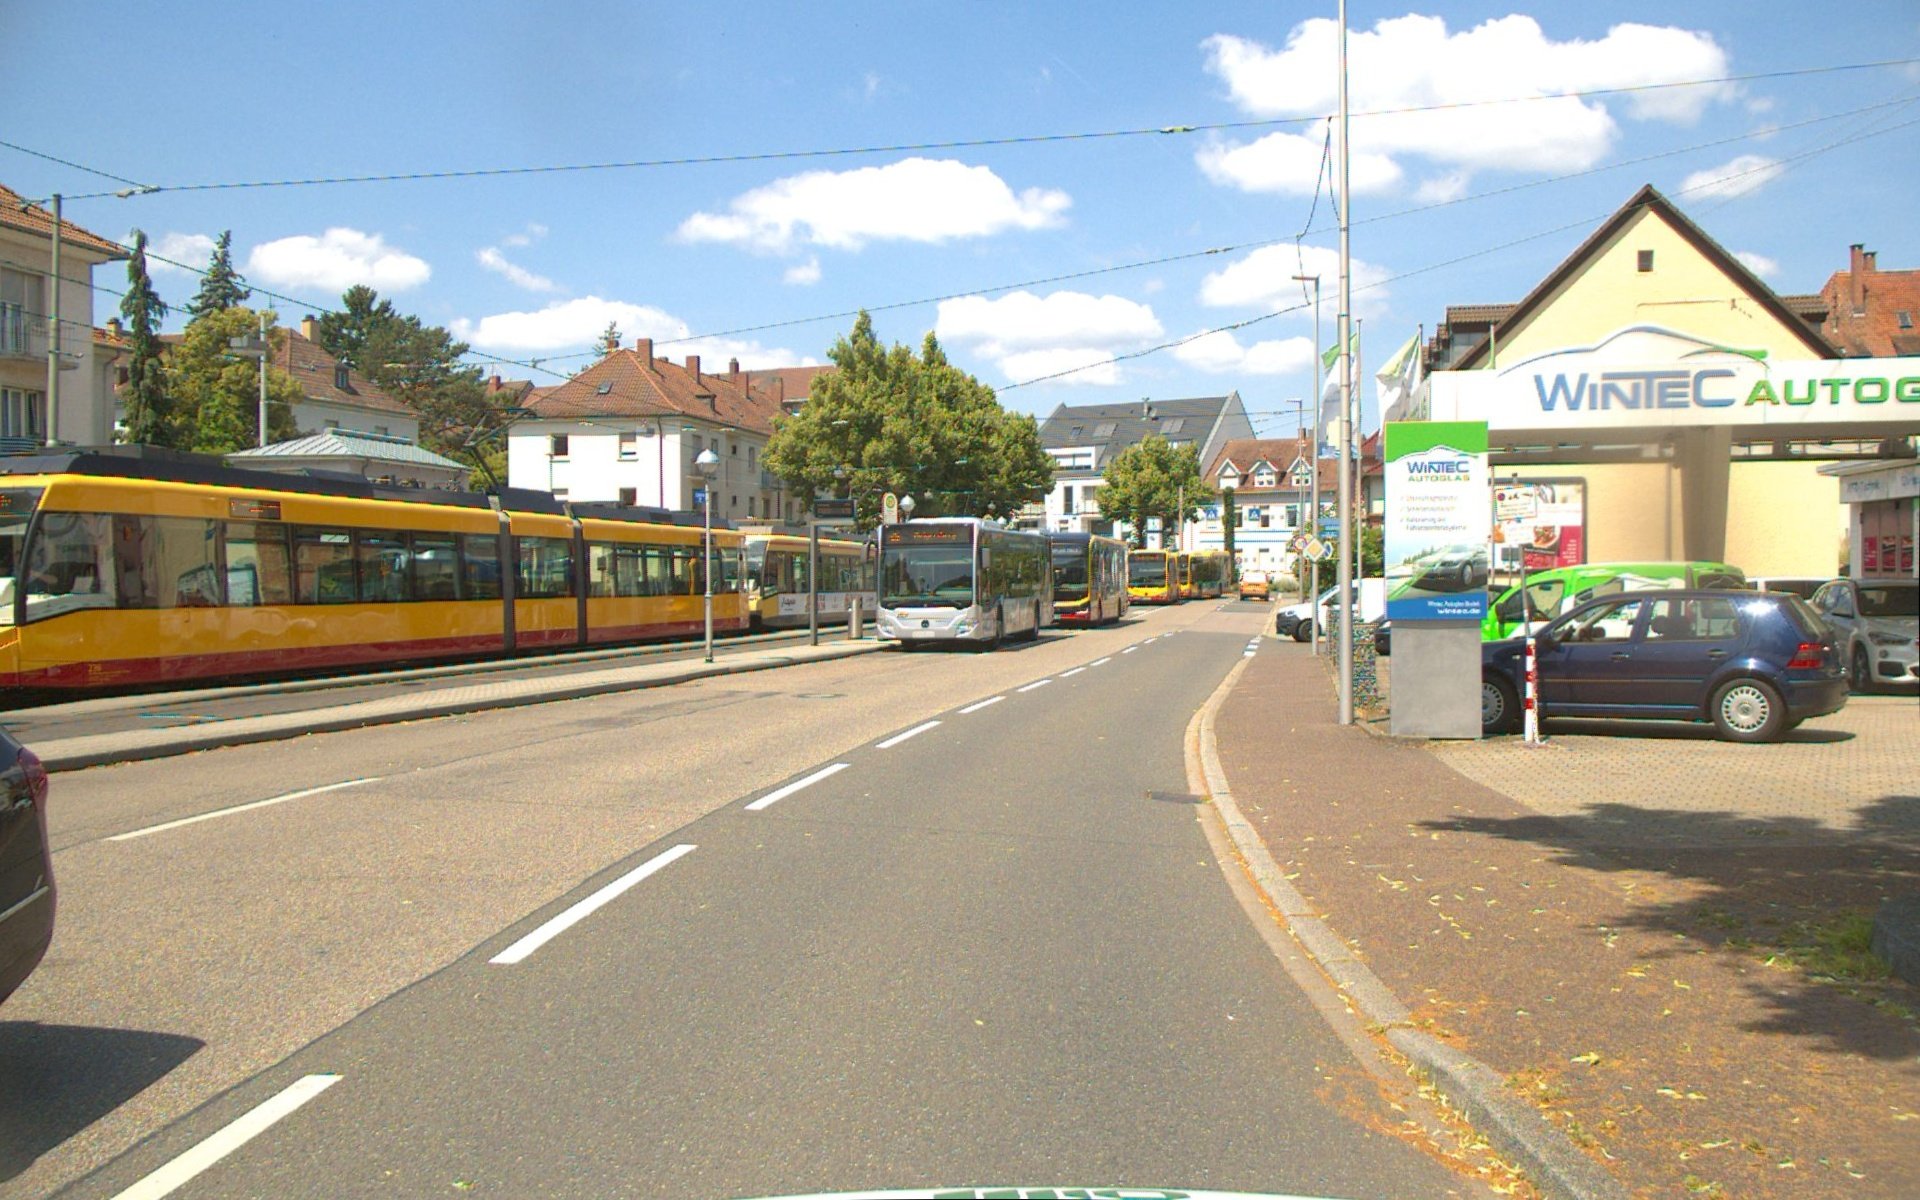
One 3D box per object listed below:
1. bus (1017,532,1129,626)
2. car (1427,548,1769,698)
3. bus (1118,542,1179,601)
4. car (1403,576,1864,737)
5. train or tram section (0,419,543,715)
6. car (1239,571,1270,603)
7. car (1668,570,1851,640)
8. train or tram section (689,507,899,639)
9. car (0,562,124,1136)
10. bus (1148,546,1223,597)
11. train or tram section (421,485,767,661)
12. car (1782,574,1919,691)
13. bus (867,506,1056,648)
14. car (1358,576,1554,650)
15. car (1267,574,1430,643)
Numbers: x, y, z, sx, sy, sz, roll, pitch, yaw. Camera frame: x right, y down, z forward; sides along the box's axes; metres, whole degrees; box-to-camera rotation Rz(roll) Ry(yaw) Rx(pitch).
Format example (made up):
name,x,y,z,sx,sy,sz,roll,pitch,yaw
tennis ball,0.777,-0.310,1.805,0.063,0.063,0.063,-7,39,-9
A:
name,x,y,z,sx,sy,sz,roll,pitch,yaw
bus,4.448,-0.781,62.407,2.672,3.183,12.019,0,1,11
car,8.511,0.279,22.334,1.822,1.825,3.972,-1,0,-37
bus,11.204,-1.666,97.626,2.672,3.275,11.059,0,1,11
car,6.860,0.524,16.969,4.086,1.464,1.896,-1,0,34
train or tram section,-11.398,-0.475,27.508,2.749,3.631,14.194,0,1,12
car,19.422,-0.864,108.870,1.769,2.015,4.003,0,0,13
car,22.519,0.113,46.754,4.212,1.840,2.002,1,2,7
train or tram section,-5.289,-0.892,57.384,2.725,3.963,15.565,0,1,12
car,-3.594,0.682,2.834,1.952,1.545,4.513,0,0,1
bus,15.092,-1.863,110.116,2.580,3.275,9.939,0,1,22
train or tram section,-8.492,-0.633,41.650,2.725,3.631,14.719,0,1,12
car,14.169,0.440,25.019,1.965,1.624,4.293,0,0,10
bus,0.358,-0.579,43.439,2.672,3.183,12.019,0,1,11
car,11.050,0.281,37.033,3.849,1.545,1.822,-1,0,-1
car,10.994,0.230,47.056,4.214,1.840,2.001,0,2,2
